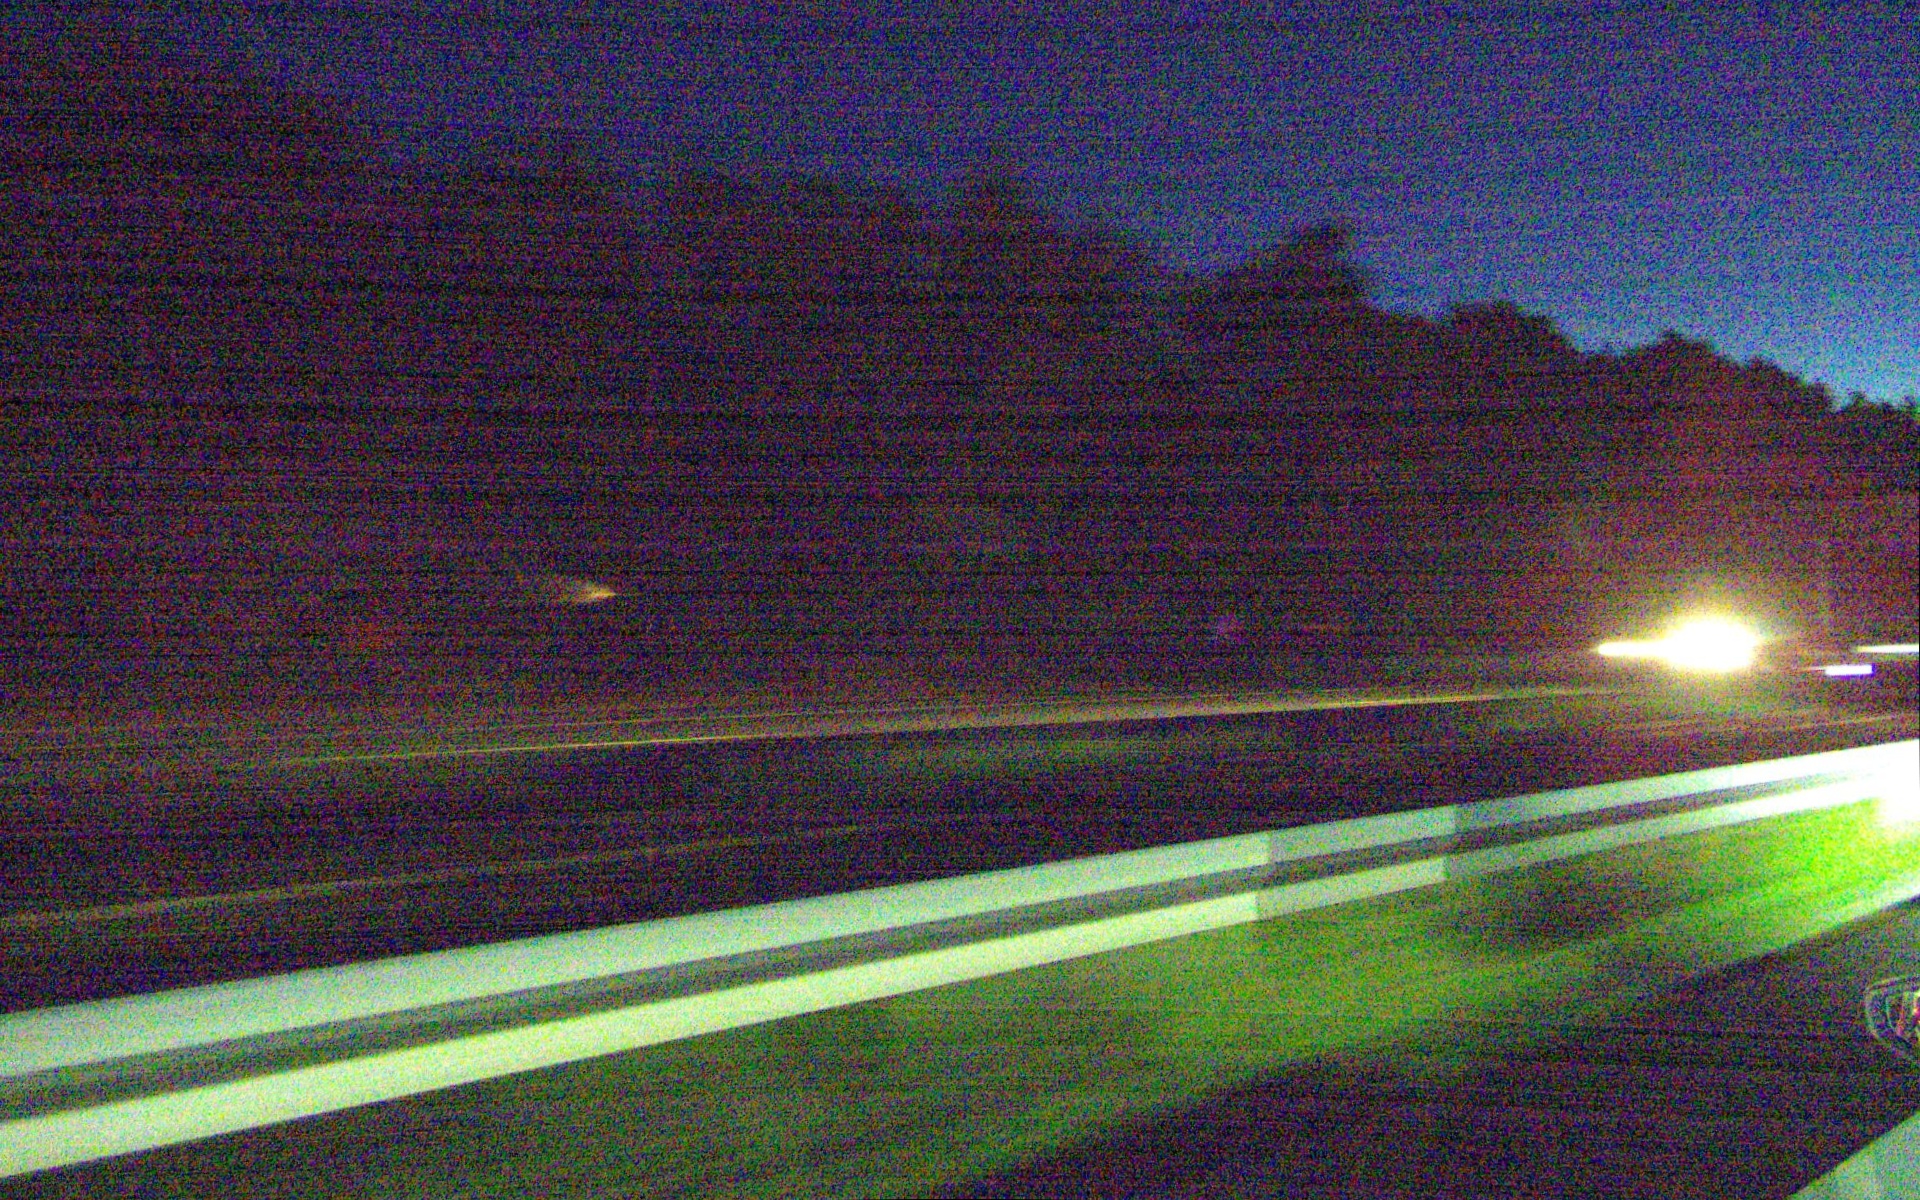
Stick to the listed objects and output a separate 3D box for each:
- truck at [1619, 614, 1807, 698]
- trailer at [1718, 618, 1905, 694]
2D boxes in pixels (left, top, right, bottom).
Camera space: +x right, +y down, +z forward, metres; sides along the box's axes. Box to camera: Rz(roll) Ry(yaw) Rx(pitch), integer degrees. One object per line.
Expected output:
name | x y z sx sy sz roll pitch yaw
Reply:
truck | 19.308 1.404 25.709 5.178 1.967 1.984 2 -2 -30
trailer | 24.352 1.543 28.637 6.543 1.965 1.984 1 -2 -30
